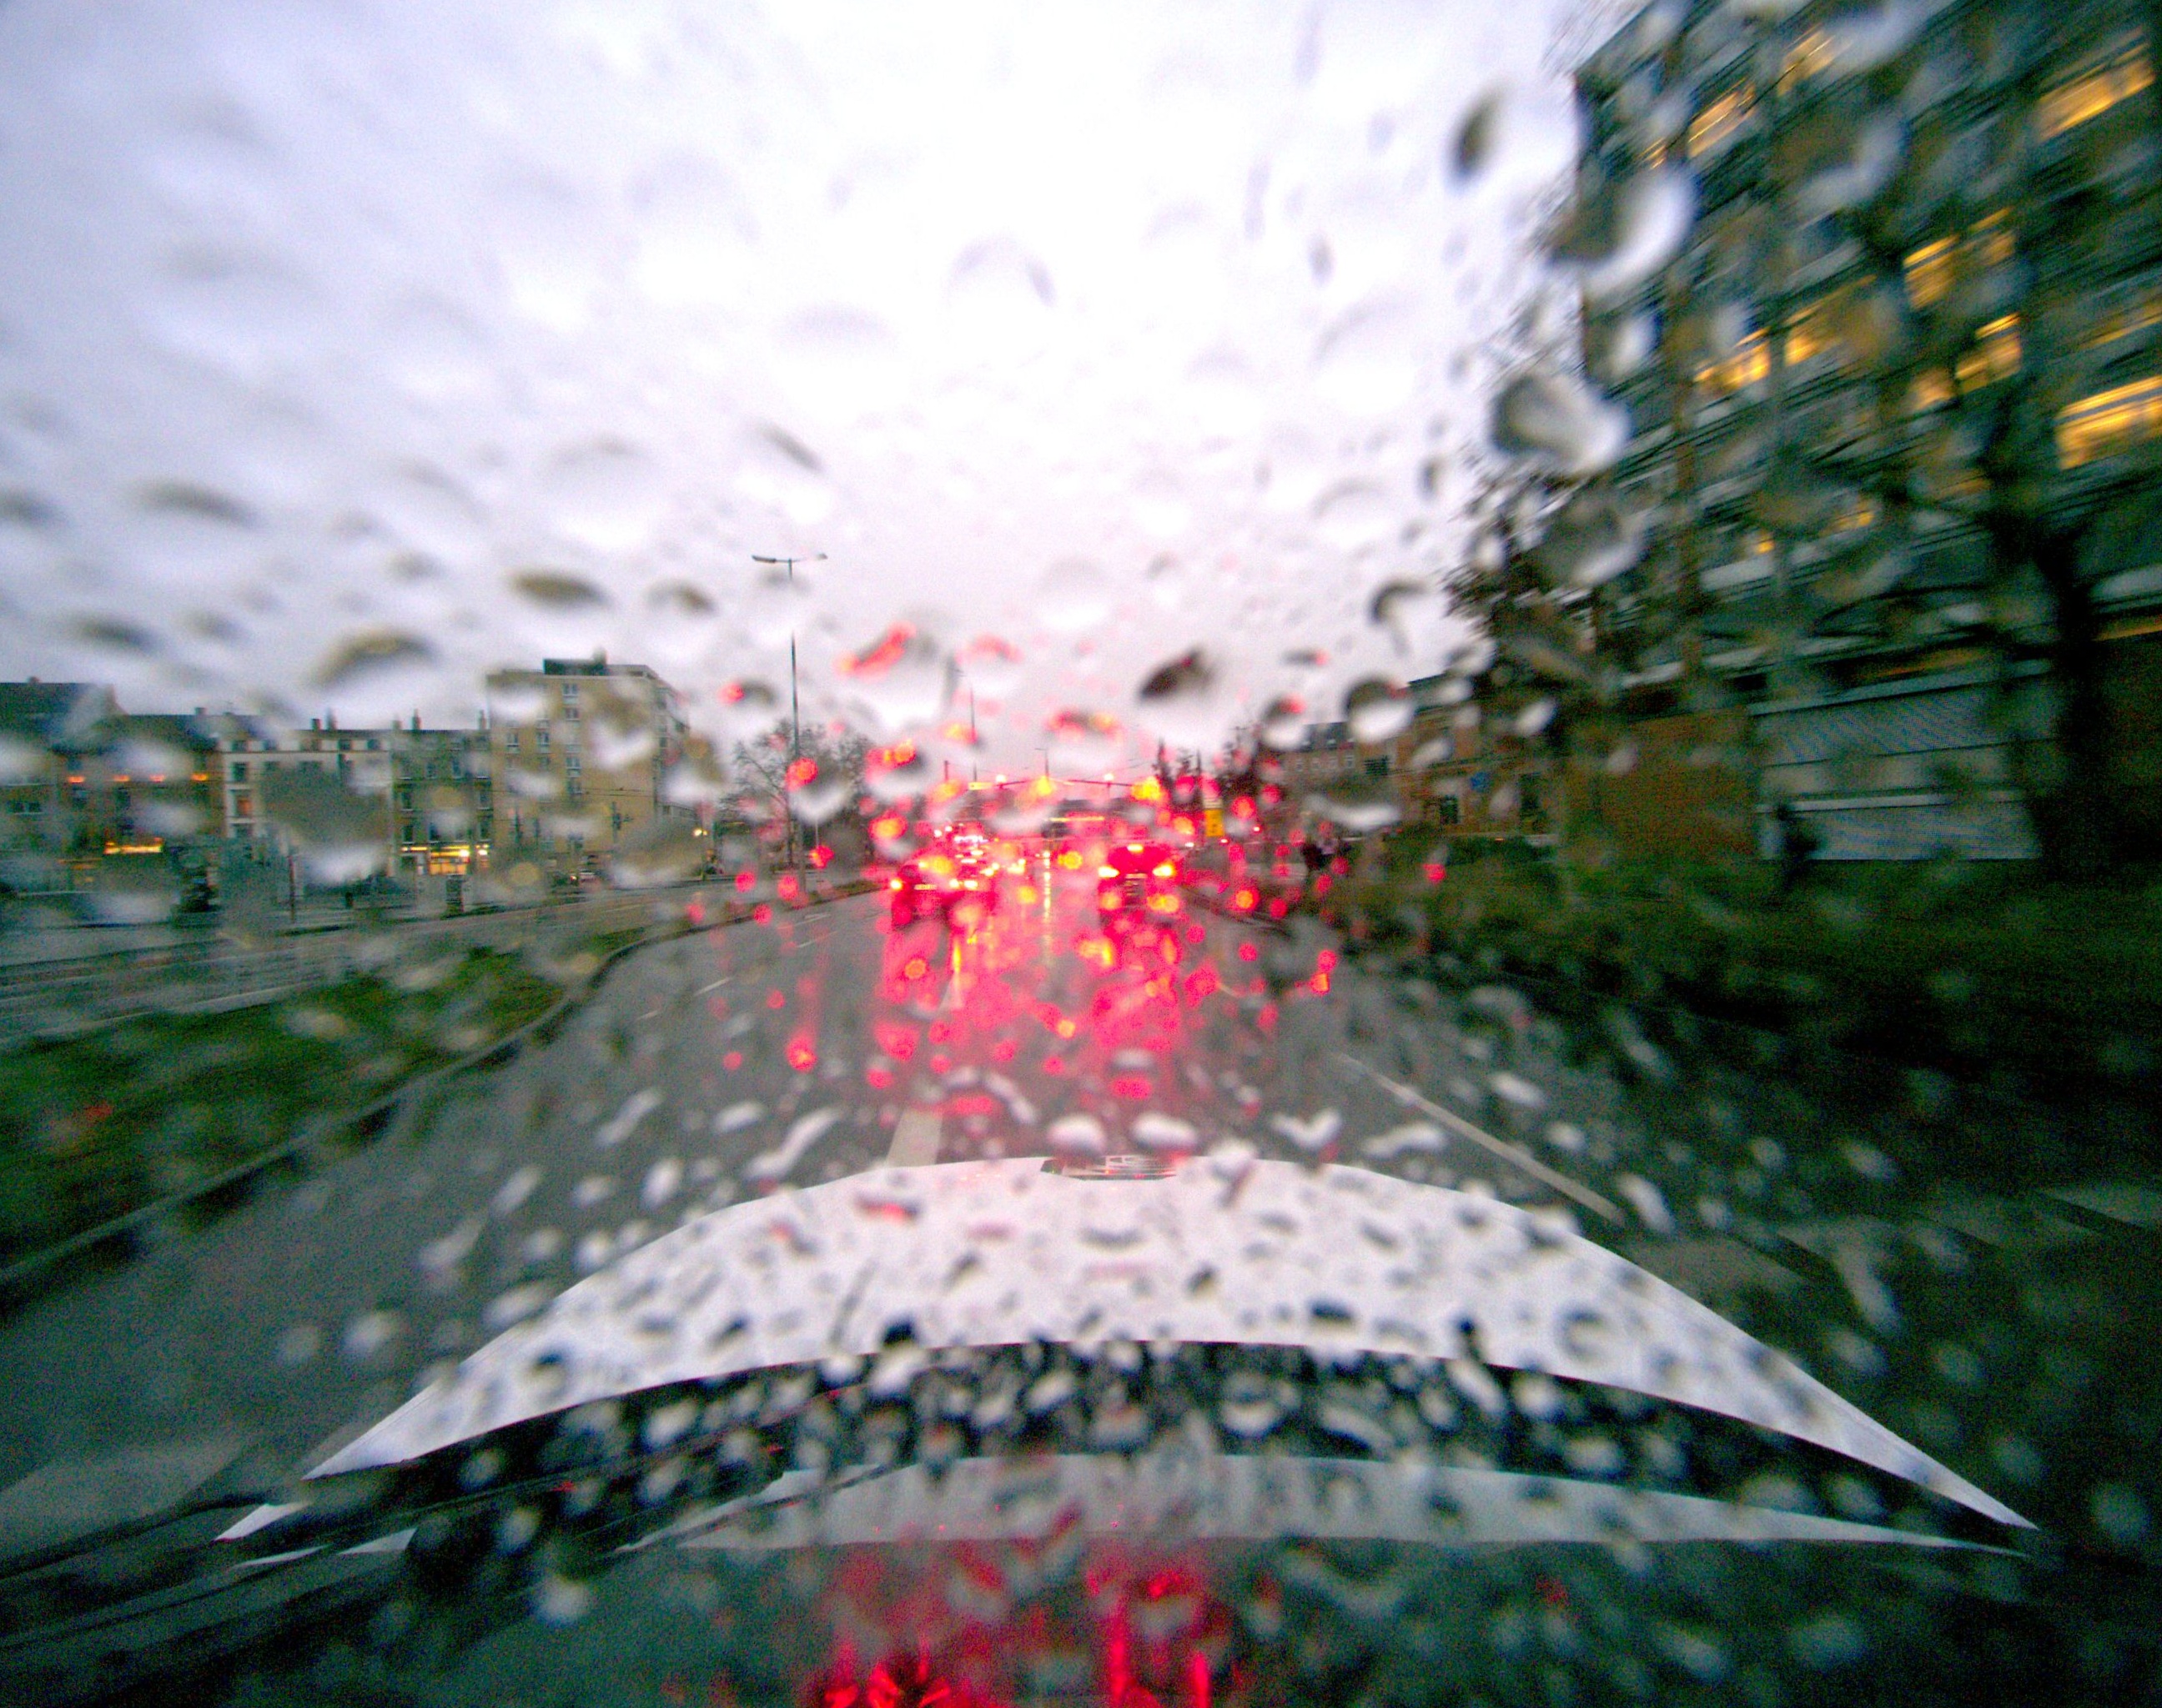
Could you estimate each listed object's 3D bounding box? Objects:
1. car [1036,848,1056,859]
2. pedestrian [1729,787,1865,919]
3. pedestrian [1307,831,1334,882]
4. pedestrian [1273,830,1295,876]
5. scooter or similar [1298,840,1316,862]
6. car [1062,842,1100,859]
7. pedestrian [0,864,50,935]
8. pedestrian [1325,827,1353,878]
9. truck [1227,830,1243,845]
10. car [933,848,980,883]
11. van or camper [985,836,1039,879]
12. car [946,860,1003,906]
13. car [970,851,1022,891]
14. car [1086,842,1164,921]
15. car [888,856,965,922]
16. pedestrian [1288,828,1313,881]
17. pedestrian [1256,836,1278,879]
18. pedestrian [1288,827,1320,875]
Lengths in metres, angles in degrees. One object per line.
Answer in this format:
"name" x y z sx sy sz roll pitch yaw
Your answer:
"car" -4.925 -0.067 114.163 1.801 1.446 4.012 -3 0 11
"pedestrian" 9.852 -0.012 11.254 0.806 1.687 1.068 -4 0 -5
"pedestrian" 8.172 0.081 27.796 0.661 1.687 0.615 -4 1 26
"pedestrian" 9.175 -0.046 36.843 0.800 2.013 0.765 -1 3 26
"scooter or similar" 13.184 -0.182 47.561 0.507 1.213 1.392 -3 0 36
"car" 0.019 -0.403 91.920 3.985 1.771 1.994 -3 0 -9
"pedestrian" -30.026 1.283 22.804 1.049 1.918 1.130 -3 0 25
"pedestrian" 8.845 -0.063 27.910 0.711 1.687 0.764 -3 0 25
"truck" 28.449 -3.025 150.404 1.977 2.691 5.140 -3 0 19
"car" -6.862 0.586 45.222 1.878 1.772 4.001 -2 0 1
"van or camper" -3.562 0.167 43.050 2.193 2.109 4.991 -1 0 3
"car" -3.621 0.948 28.223 1.655 1.404 4.115 0 0 -4
"car" -3.553 0.653 34.671 1.780 1.600 4.540 0 0 0
"car" 1.158 0.614 21.239 1.770 1.800 4.429 -2 1 3
"car" -3.819 0.811 20.661 1.699 1.481 3.862 0 1 -8
"pedestrian" 7.600 0.015 28.128 0.578 1.781 0.773 -4 -1 26
"pedestrian" 8.484 0.156 37.110 0.800 1.929 0.765 -1 3 26
"pedestrian" 8.522 -0.116 31.112 0.854 1.791 0.743 -3 0 -22
